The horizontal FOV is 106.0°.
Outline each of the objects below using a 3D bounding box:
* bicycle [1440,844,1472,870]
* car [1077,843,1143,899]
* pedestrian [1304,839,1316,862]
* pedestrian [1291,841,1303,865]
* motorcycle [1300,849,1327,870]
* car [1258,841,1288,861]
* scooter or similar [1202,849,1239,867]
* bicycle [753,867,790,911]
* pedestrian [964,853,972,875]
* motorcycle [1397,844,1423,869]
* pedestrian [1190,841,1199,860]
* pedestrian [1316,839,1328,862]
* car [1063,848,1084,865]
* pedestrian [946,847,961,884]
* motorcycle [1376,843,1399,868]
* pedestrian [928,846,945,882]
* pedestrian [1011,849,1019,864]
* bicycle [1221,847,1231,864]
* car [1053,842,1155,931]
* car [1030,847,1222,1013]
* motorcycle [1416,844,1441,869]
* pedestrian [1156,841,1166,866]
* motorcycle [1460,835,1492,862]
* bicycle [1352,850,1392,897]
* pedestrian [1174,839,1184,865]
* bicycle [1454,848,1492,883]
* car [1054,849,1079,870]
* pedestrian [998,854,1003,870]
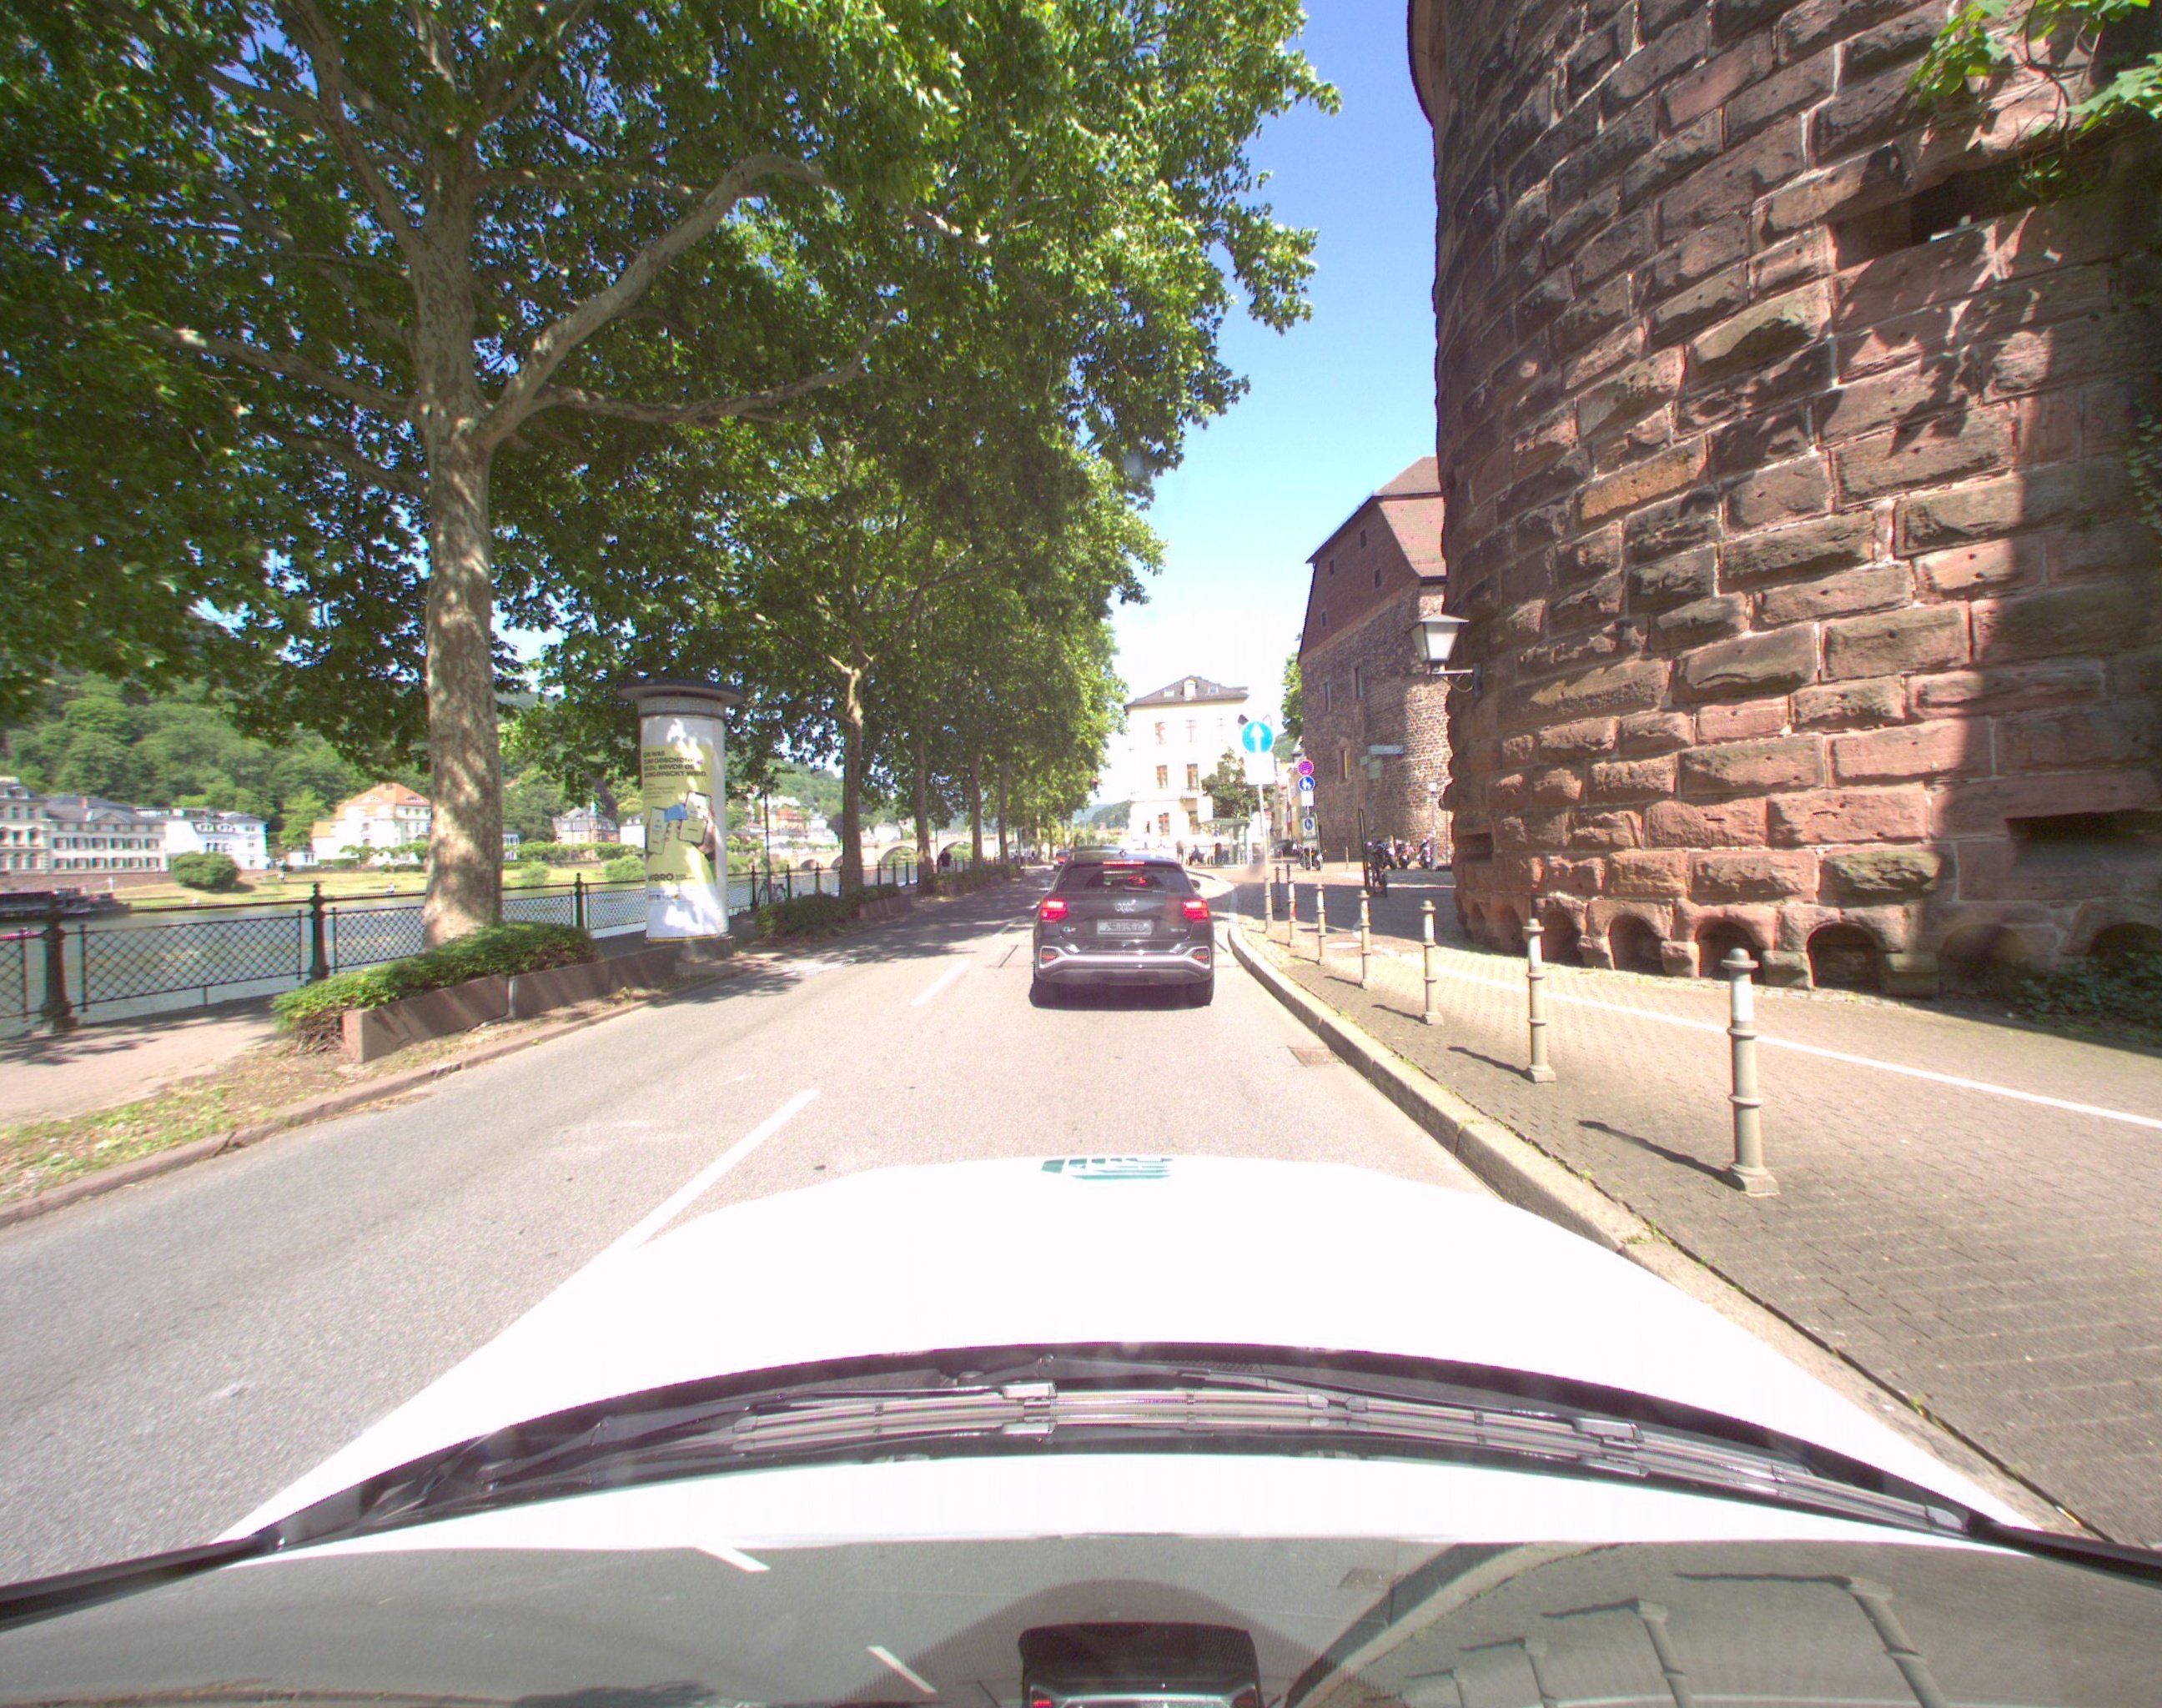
[{"bbox_3d":[14.571,0.116,31.705,0.402,0.989,1.825,0,0,-1],"label":"bicycle"},{"bbox_3d":[0.902,0.474,25.070,1.794,1.523,3.718,-3,0,2],"label":"car"},{"bbox_3d":[14.980,-0.235,53.252,0.655,1.517,0.548,0,0,3],"label":"pedestrian"},{"bbox_3d":[13.216,-0.057,49.808,0.655,1.493,0.548,0,0,3],"label":"pedestrian"},{"bbox_3d":[9.287,0.205,32.573,0.481,0.818,2.281,-3,0,2],"label":"motorcycle"},{"bbox_3d":[17.597,-0.273,74.816,1.986,1.716,4.002,0,0,2],"label":"car"},{"bbox_3d":[7.205,0.208,42.188,1.838,0.963,0.429,0,0,1],"label":"scooter or similar"},{"bbox_3d":[-8.815,0.981,23.245,0.356,1.162,1.825,0,0,-1],"label":"bicycle"},{"bbox_3d":[-7.944,0.720,57.234,0.496,1.537,0.678,0,0,-5],"label":"pedestrian"},{"bbox_3d":[12.925,0.090,32.010,0.456,0.973,1.467,0,0,2],"label":"motorcycle"},{"bbox_3d":[7.045,-0.229,50.659,0.544,1.201,0.523,0,0,3],"label":"pedestrian"},{"bbox_3d":[15.757,-0.234,53.199,0.655,1.517,0.627,0,0,3],"label":"pedestrian"},{"bbox_3d":[-0.684,0.231,73.903,1.608,1.523,3.480,0,0,4],"label":"car"},{"bbox_3d":[-6.109,0.535,39.017,0.562,1.741,0.665,-3,0,-1],"label":"pedestrian"},{"bbox_3d":[12.109,0.070,32.224,0.434,0.973,1.359,0,0,2],"label":"motorcycle"},{"bbox_3d":[-6.891,0.472,38.924,0.643,1.717,0.665,-1,0,-1],"label":"pedestrian"},{"bbox_3d":[-5.637,0.254,69.716,0.588,1.278,0.525,0,0,2],"label":"pedestrian"},{"bbox_3d":[8.921,0.090,50.141,0.449,0.974,1.400,0,0,2],"label":"bicycle"},{"bbox_3d":[0.477,0.574,16.269,1.794,1.562,3.718,0,0,2],"label":"car"},{"bbox_3d":[0.436,0.682,9.213,1.742,1.494,3.629,0,0,1],"label":"car"},{"bbox_3d":[13.795,0.090,32.355,0.456,0.973,1.467,0,0,2],"label":"motorcycle"},{"bbox_3d":[5.037,-0.042,51.209,0.555,1.557,0.660,-1,0,3],"label":"pedestrian"},{"bbox_3d":[15.653,-0.217,32.275,0.496,1.019,1.702,0,0,2],"label":"motorcycle"},{"bbox_3d":[6.847,0.439,19.236,0.493,1.030,2.056,-3,-1,10],"label":"bicycle"},{"bbox_3d":[6.116,-0.135,50.739,0.555,1.633,0.660,-1,0,3],"label":"pedestrian"},{"bbox_3d":[11.752,0.329,24.460,0.493,1.030,2.056,0,0,10],"label":"bicycle"},{"bbox_3d":[-1.134,0.394,65.183,1.608,1.523,3.480,-3,0,4],"label":"car"},{"bbox_3d":[-7.186,0.672,72.958,0.407,1.425,0.457,0,0,0],"label":"pedestrian"}]
